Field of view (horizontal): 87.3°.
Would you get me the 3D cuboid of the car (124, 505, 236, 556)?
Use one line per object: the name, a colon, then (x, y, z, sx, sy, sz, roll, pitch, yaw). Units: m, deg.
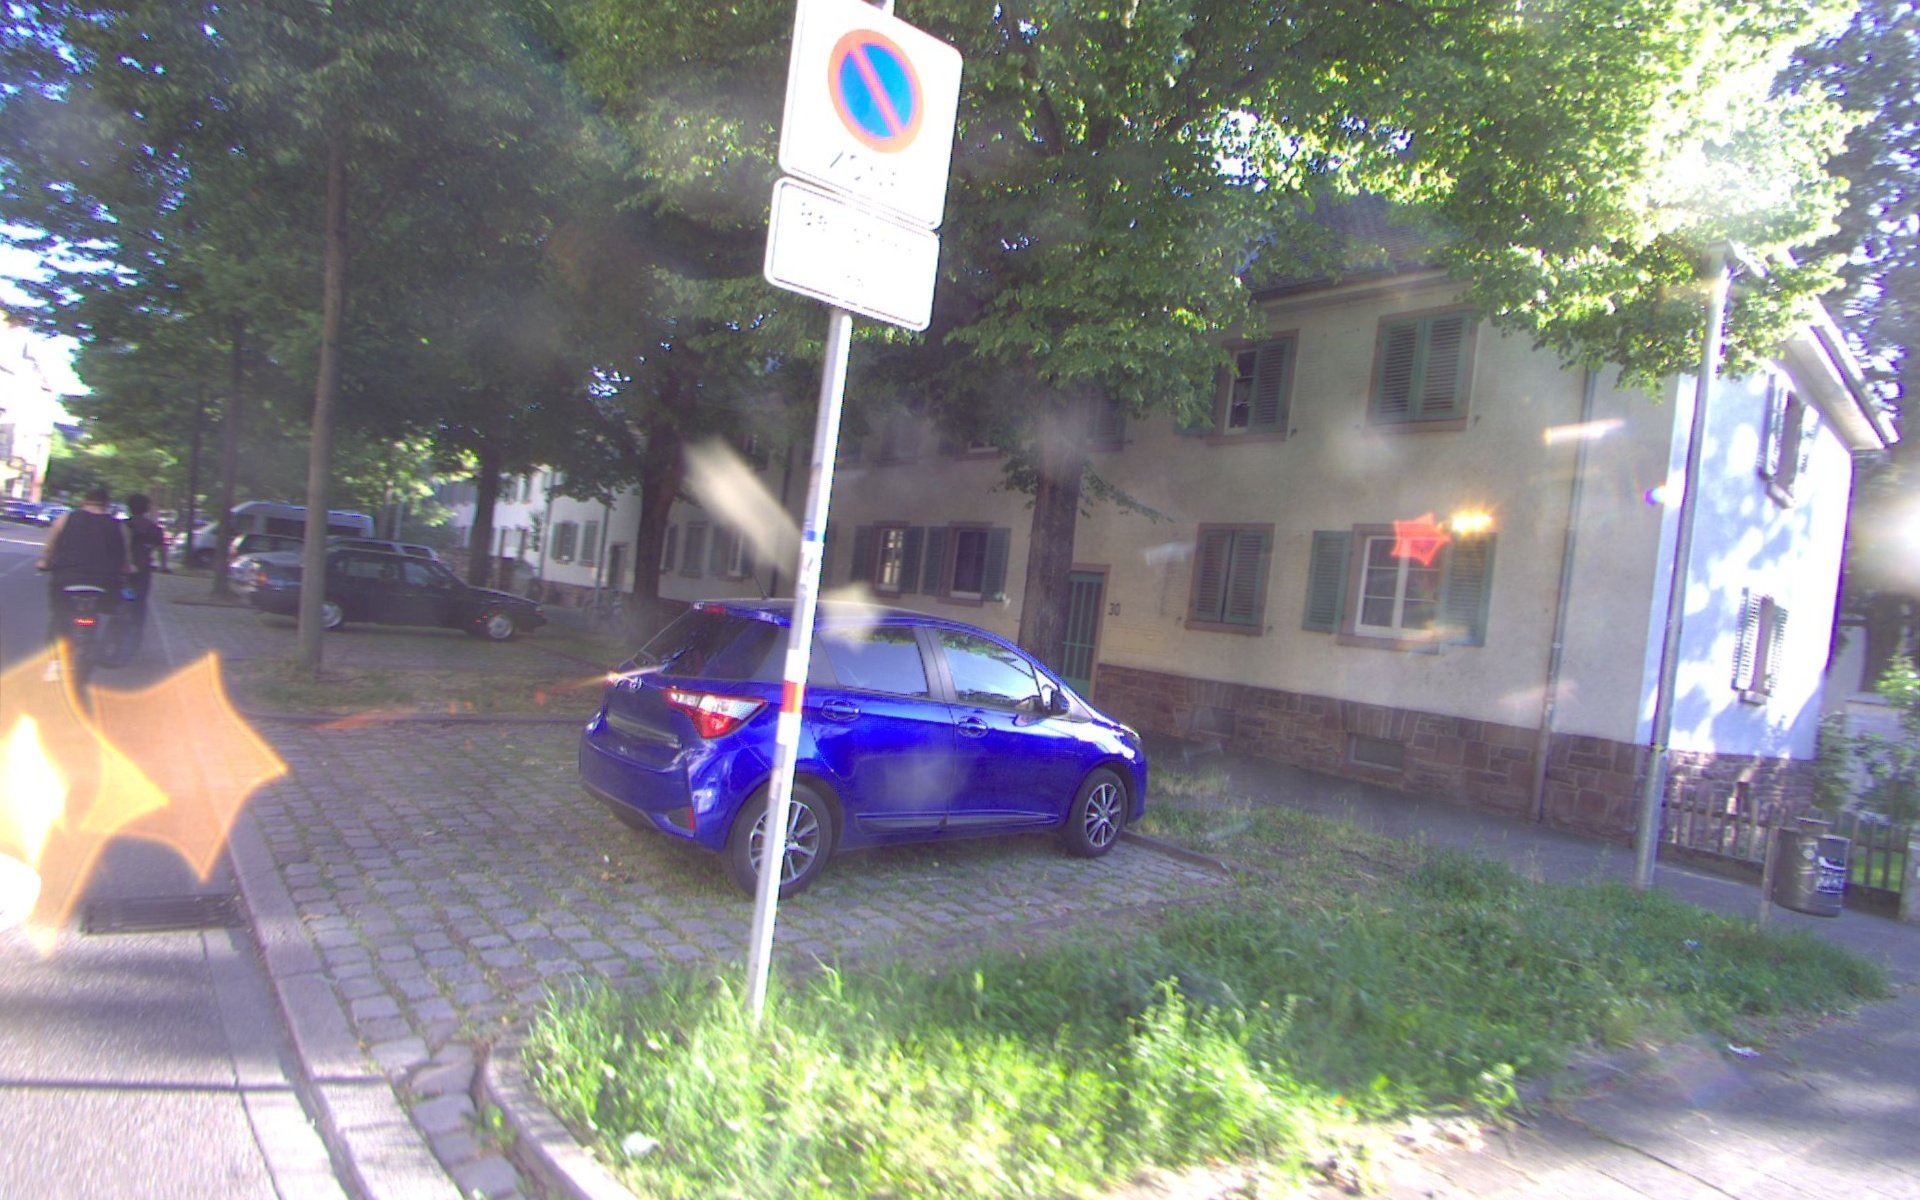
car: (-66.722, -5.912, 86.233, 7.299, 3.322, 2.199, 7, -1, -40)

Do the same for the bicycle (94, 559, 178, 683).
bicycle: (-8.843, 0.193, 10.773, 0.553, 1.086, 1.946, 7, 0, -41)

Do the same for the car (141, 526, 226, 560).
car: (-56.530, -4.121, 73.319, 4.735, 1.801, 1.835, 7, -1, -40)

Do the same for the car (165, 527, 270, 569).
car: (-38.556, -2.674, 52.263, 4.224, 1.667, 1.835, 7, -1, -40)

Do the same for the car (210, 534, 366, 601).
car: (-19.474, -0.925, 29.196, 3.487, 1.490, 1.732, 7, -2, -42)

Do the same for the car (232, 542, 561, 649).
car: (-10.116, -0.033, 18.324, 4.875, 1.460, 1.920, 6, -1, -43)

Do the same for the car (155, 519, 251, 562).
car: (-43.402, -3.380, 57.720, 4.224, 1.862, 1.835, 7, -1, -40)

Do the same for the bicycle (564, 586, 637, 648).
bicycle: (-8.200, 0.365, 22.898, 1.908, 1.177, 0.627, 7, -1, 42)

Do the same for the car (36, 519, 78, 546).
car: (-60.672, -4.549, 67.580, 1.891, 1.503, 4.329, 8, -3, -43)

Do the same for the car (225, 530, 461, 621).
car: (-14.653, -0.547, 24.026, 4.457, 1.691, 1.919, 5, 2, -43)

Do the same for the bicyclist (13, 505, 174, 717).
bicyclist: (-6.850, 0.083, 7.952, 0.958, 1.544, 0.705, 5, -2, 41)

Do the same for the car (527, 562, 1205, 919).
car: (-0.409, 0.781, 6.621, 3.973, 1.574, 1.977, 7, -1, -43)

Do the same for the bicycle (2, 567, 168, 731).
bicycle: (-7.049, 0.361, 8.069, 1.942, 1.085, 0.695, 5, -2, 42)

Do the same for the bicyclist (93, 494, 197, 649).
bicyclist: (-8.875, -0.302, 10.949, 0.716, 1.544, 0.961, 7, -2, -41)

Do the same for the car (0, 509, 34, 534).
car: (-68.607, -5.699, 72.938, 1.987, 1.503, 3.955, 8, -3, -41)

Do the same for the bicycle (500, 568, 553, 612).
bicycle: (-15.983, -0.374, 37.055, 1.974, 1.416, 0.800, 6, -1, 37)

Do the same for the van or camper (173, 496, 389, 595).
van or camper: (-22.351, -1.717, 33.295, 5.552, 2.568, 2.242, 5, 0, -43)

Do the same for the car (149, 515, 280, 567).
car: (-31.604, -2.464, 42.736, 4.230, 1.625, 1.732, 7, -1, -44)
